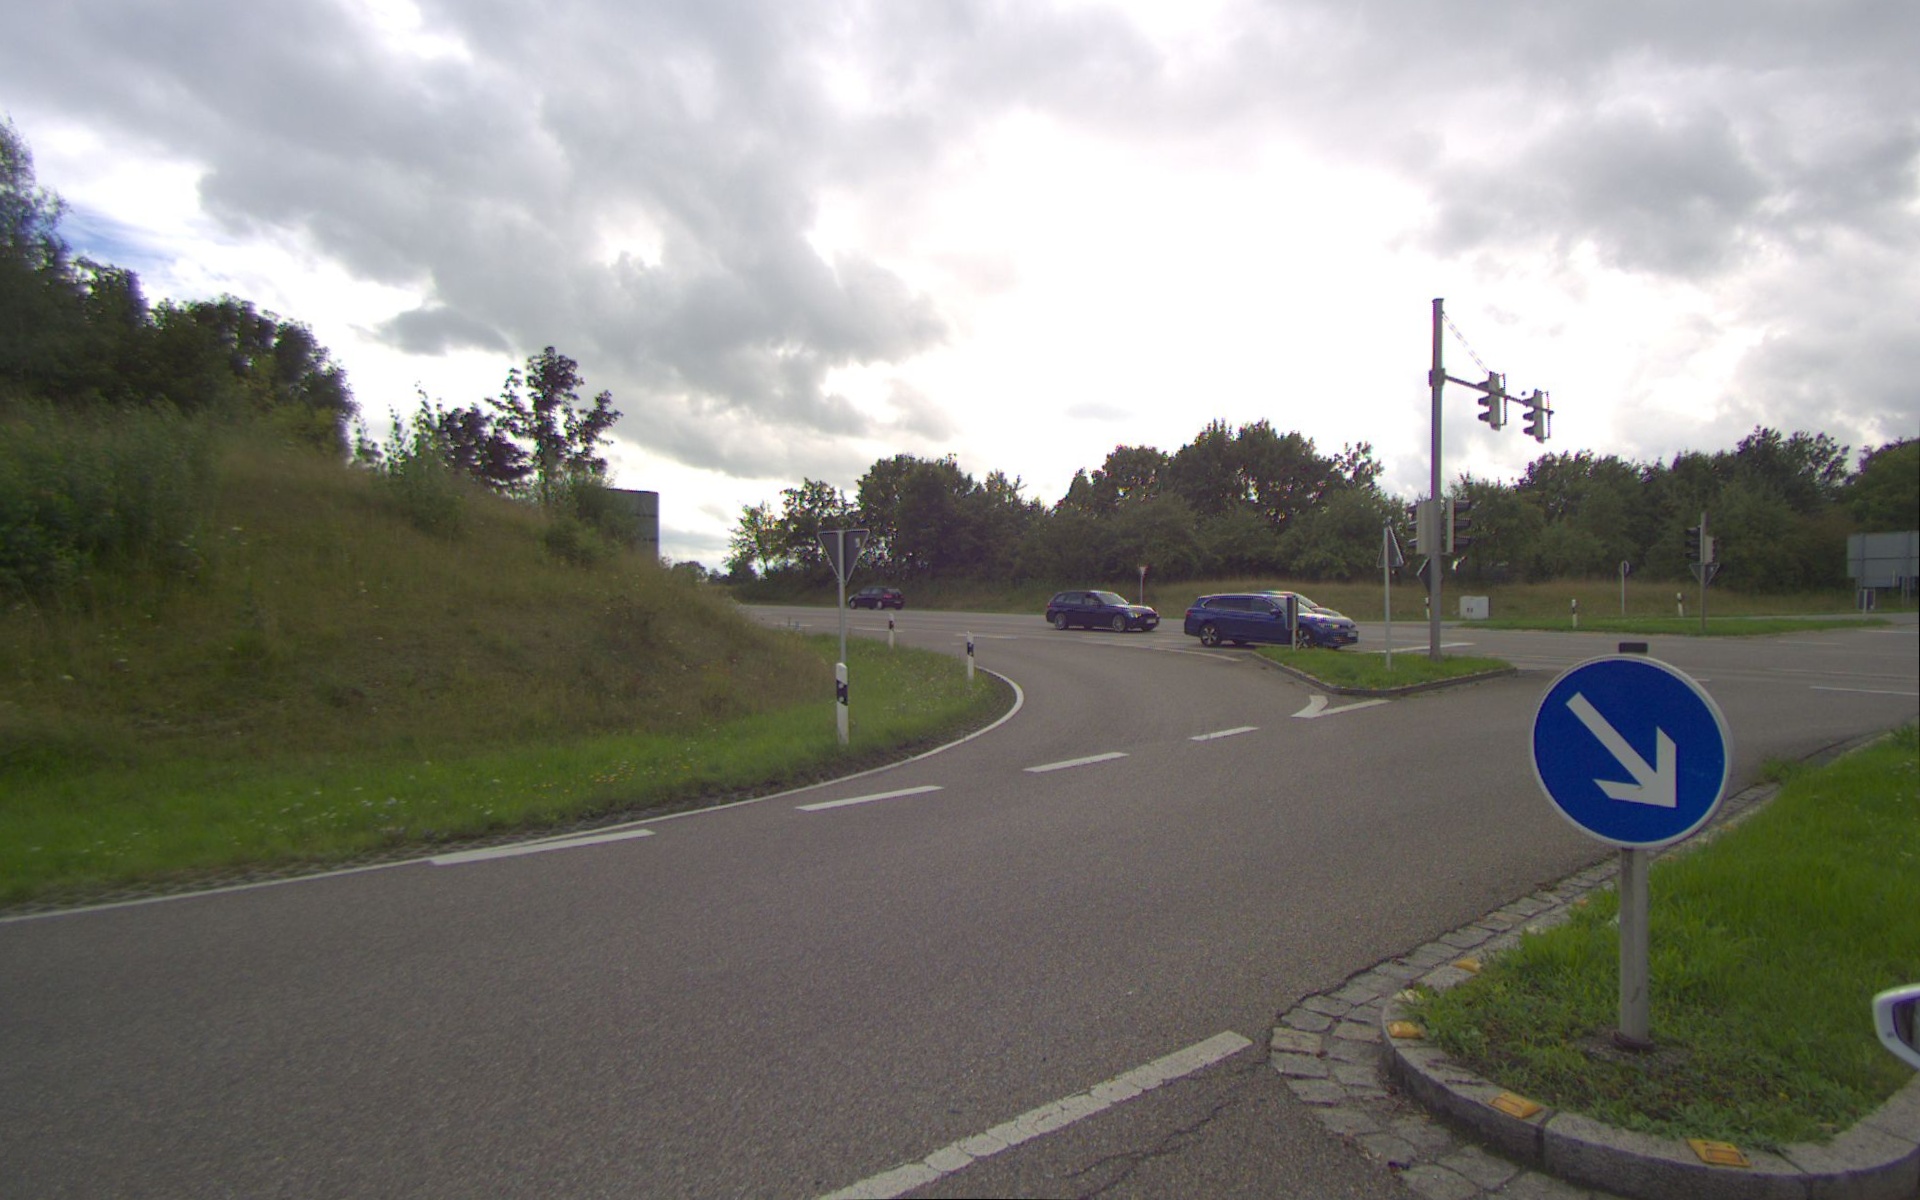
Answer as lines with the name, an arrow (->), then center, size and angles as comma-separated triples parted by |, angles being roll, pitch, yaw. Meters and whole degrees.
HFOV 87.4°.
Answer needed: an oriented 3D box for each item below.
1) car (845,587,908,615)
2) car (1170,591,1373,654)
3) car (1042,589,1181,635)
car -> -5.266, 0.049, 63.133 | 3.945, 1.712, 1.838 | 1, 0, 44
car -> 8.510, 0.542, 27.825 | 2.038, 1.555, 5.060 | -1, 2, -44
car -> 5.477, 0.374, 36.757 | 2.040, 1.504, 4.820 | -2, 2, -43
